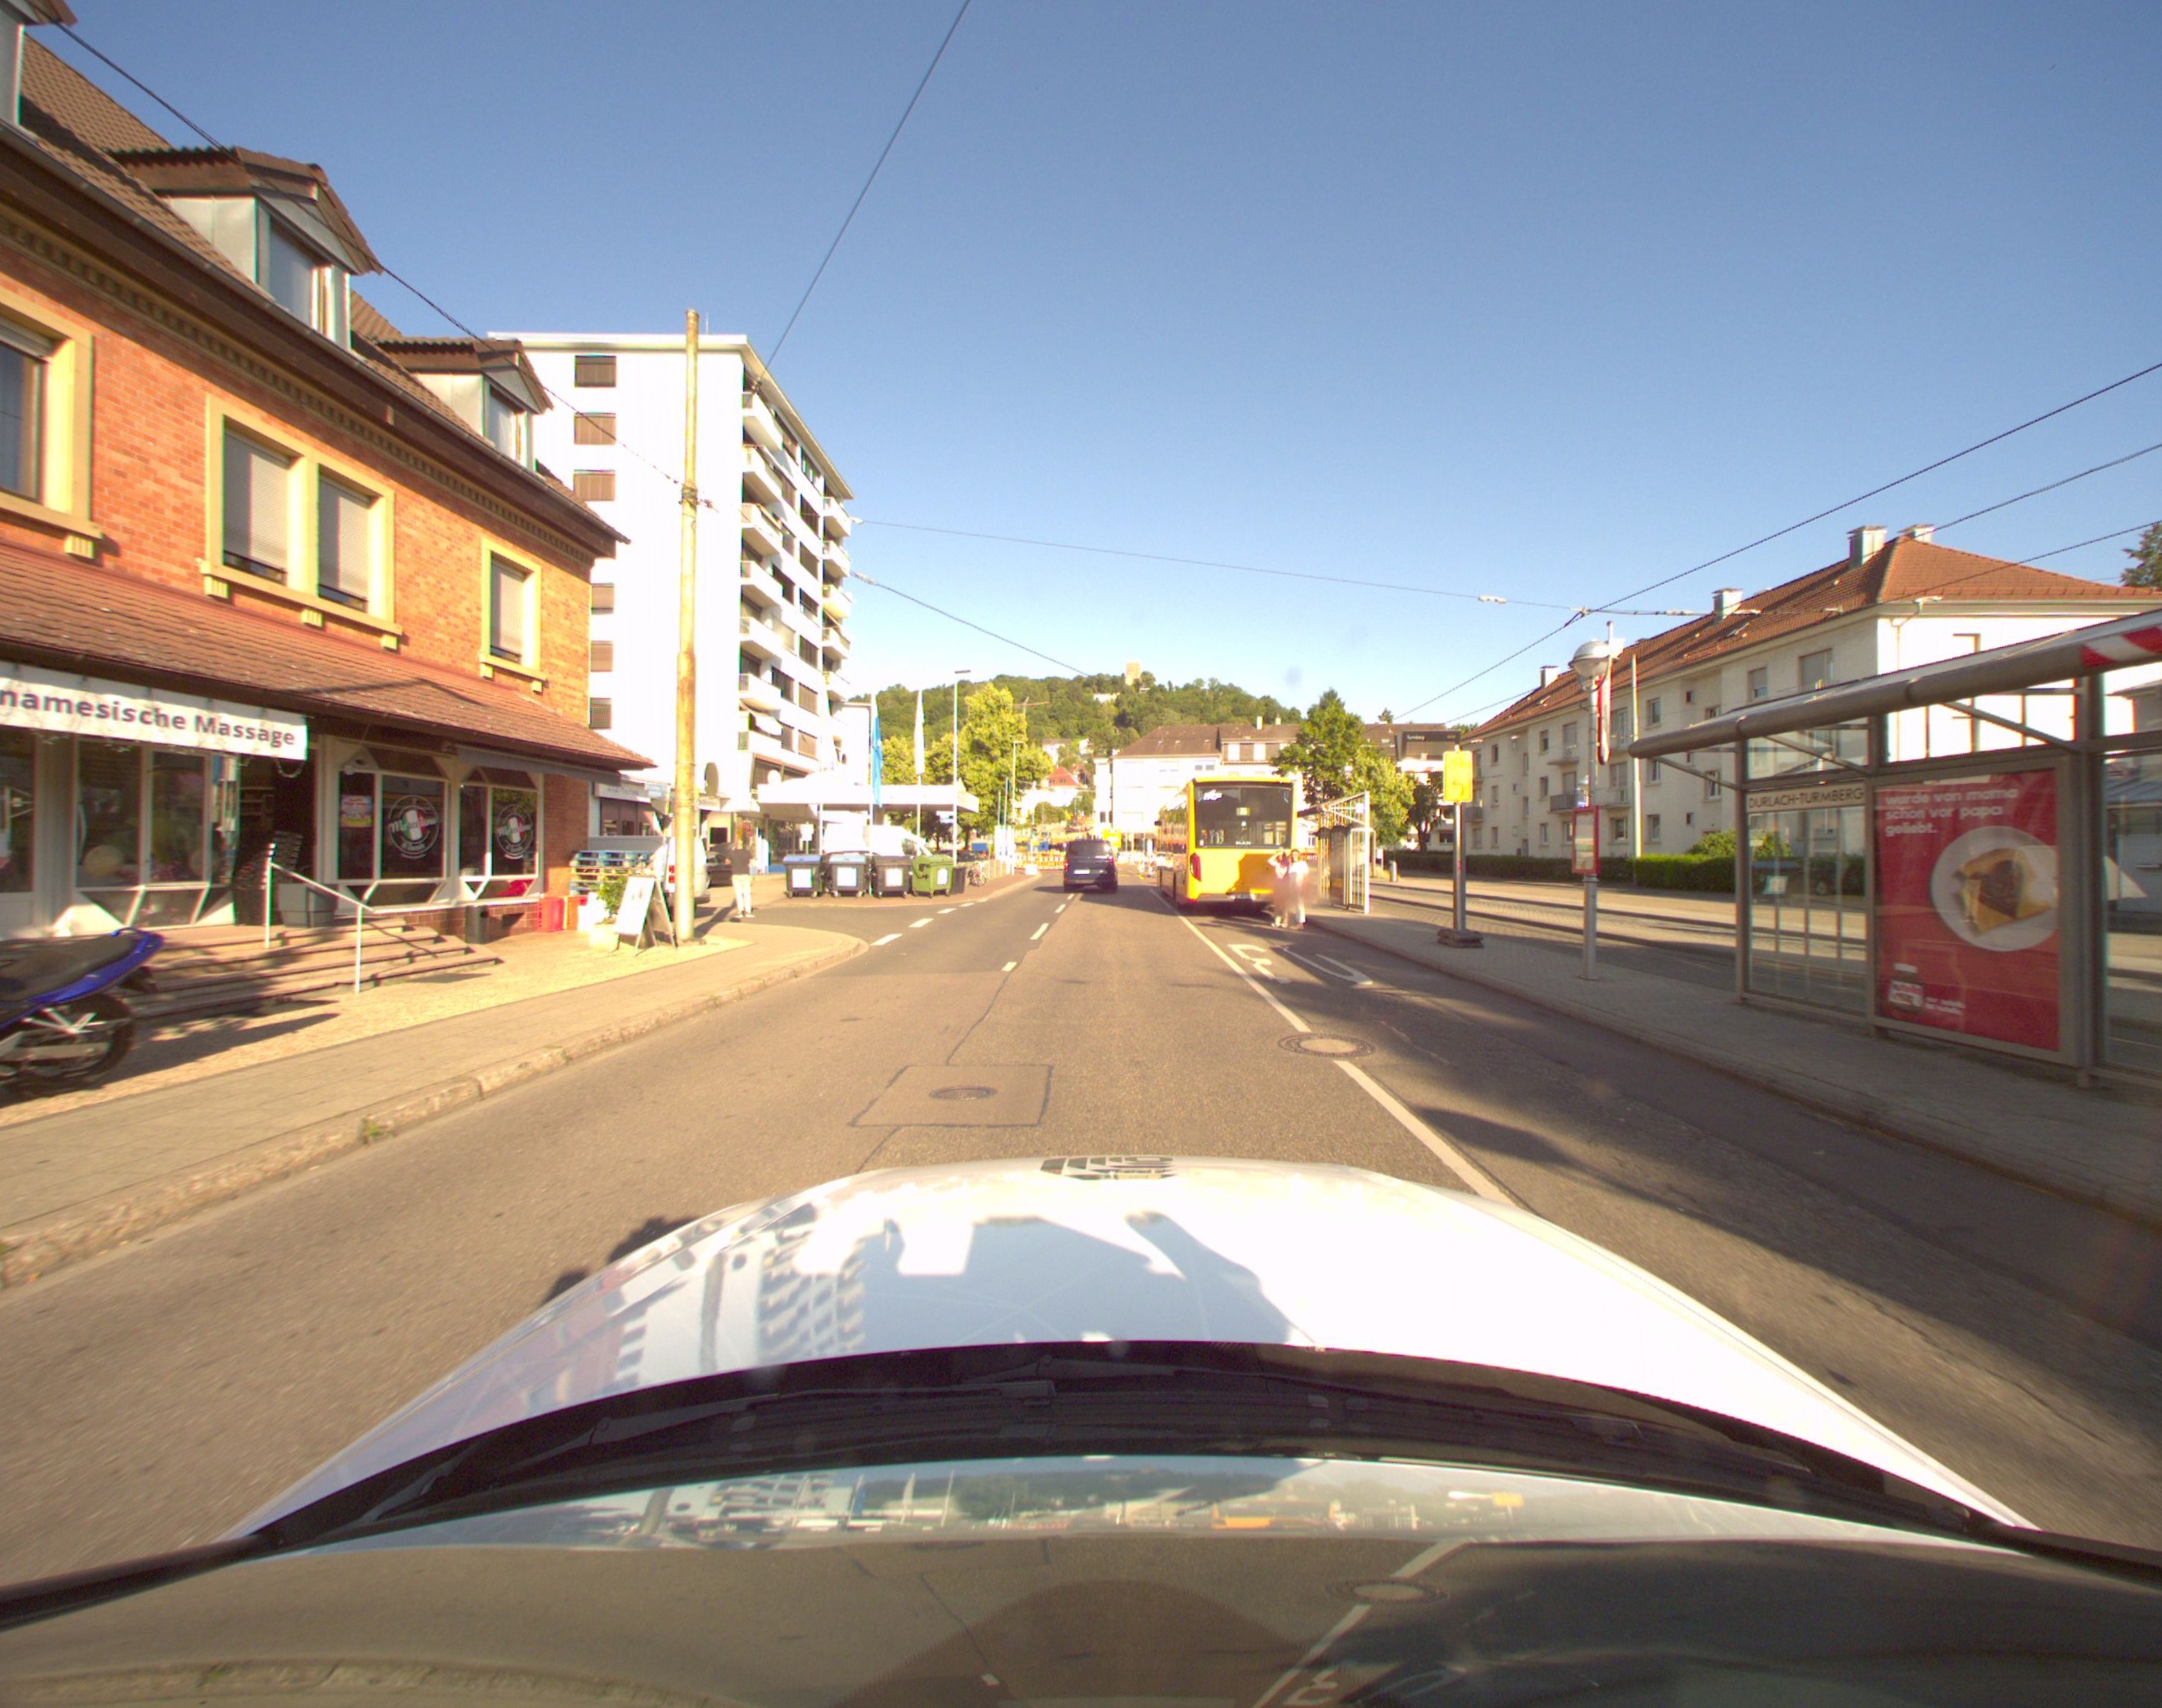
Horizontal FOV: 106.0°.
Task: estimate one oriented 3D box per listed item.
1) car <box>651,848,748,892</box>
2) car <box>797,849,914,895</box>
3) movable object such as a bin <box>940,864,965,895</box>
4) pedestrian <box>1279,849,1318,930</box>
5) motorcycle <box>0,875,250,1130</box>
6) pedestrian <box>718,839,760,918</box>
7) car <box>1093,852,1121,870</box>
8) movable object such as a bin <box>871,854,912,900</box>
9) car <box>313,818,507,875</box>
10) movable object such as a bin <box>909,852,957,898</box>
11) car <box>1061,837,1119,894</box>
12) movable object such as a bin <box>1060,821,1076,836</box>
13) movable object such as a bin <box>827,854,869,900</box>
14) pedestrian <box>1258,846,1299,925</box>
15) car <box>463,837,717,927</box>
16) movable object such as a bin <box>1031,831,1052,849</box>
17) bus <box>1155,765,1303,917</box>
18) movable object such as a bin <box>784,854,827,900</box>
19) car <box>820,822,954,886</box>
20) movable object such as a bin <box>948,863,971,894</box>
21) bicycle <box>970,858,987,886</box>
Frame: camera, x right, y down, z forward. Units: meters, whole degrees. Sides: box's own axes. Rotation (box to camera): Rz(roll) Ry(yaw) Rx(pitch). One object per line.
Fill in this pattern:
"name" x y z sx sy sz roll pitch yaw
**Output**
"car" -15.027 0.572 32.345 1.761 1.568 4.316 1 0 1
"car" -8.195 0.641 29.911 3.990 1.568 1.765 1 0 -13
"movable object such as a bin" -4.644 0.916 29.463 0.655 1.062 0.587 3 2 14
"pedestrian" 4.437 0.700 16.601 0.548 1.613 0.544 0 -1 -36
"motorcycle" -5.990 0.780 4.331 0.836 1.282 2.231 1 -1 -1
"pedestrian" -8.255 0.585 19.695 0.819 1.867 0.791 0 0 -15
"car" 2.016 0.548 64.461 1.791 1.409 3.992 0 0 -5
"movable object such as a bin" -6.386 0.761 27.458 1.225 1.482 0.698 -1 3 -27
"car" -19.648 -0.190 23.993 3.972 1.526 2.000 0 -4 1
"movable object such as a bin" -5.154 0.715 28.454 1.045 1.482 1.321 2 3 30
"car" 0.403 0.416 31.618 2.054 2.014 5.002 -1 0 2
"movable object such as a bin" -2.516 -5.025 160.729 2.175 2.690 4.015 0 0 13
"movable object such as a bin" -7.782 0.746 27.222 1.215 1.482 0.703 0 3 -3
"pedestrian" 4.109 0.645 16.945 0.548 1.613 0.629 0 -1 -36
"car" -11.133 0.608 18.739 4.600 1.933 1.999 0 0 -1
"movable object such as a bin" -6.086 -2.107 126.253 2.175 2.690 4.015 0 0 13
"bus" 3.850 -0.319 24.246 2.678 3.416 12.024 0 0 2
"movable object such as a bin" -9.175 0.760 27.151 1.175 1.482 0.703 0 3 -3
"car" -7.845 0.029 32.888 5.072 2.469 2.094 1 0 -20
"movable object such as a bin" -4.479 0.902 30.056 0.635 1.069 0.582 1 3 14
"bicycle" -4.433 0.776 35.262 0.722 1.178 1.776 0 0 -7
